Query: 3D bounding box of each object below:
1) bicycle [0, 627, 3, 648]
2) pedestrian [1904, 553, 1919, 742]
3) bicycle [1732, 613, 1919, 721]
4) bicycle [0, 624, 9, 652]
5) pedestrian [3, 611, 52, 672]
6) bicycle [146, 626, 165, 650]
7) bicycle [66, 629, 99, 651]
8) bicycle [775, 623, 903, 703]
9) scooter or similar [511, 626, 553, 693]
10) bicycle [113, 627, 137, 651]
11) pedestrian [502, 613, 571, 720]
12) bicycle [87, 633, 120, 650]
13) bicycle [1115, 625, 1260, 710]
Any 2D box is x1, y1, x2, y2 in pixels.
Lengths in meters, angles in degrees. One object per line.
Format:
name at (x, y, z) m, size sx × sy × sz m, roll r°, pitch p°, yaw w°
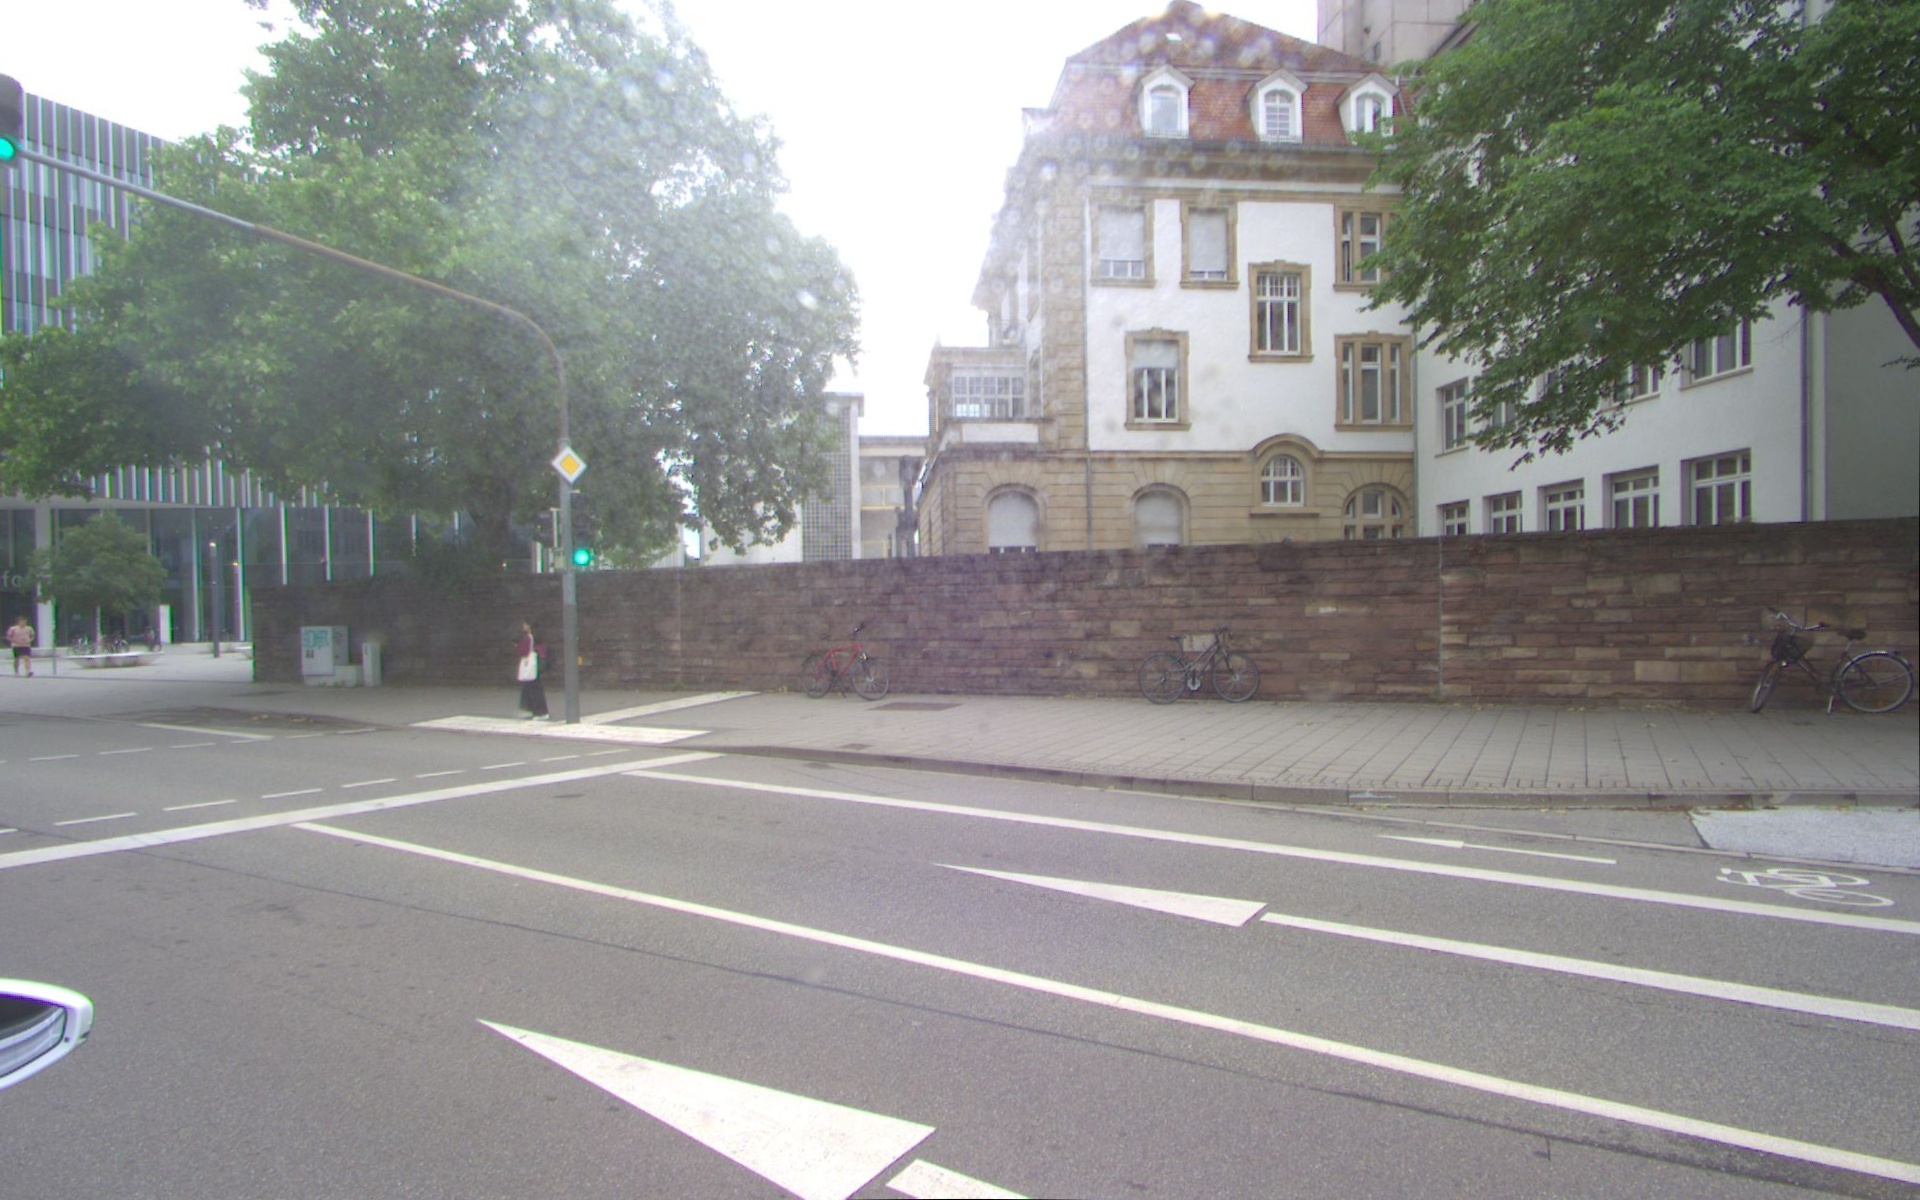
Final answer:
bicycle at (-48.432, 1.918, 49.933) m, size 0.613 × 1.060 × 1.696 m, roll -2°, pitch 2°, yaw -31°
pedestrian at (9.922, 0.453, 9.685) m, size 1.018 × 1.846 × 0.629 m, roll 0°, pitch 2°, yaw 32°
bicycle at (10.178, 0.748, 11.494) m, size 1.889 × 1.143 × 0.849 m, roll -1°, pitch 2°, yaw 17°
bicycle at (-46.269, 1.836, 48.200) m, size 0.522 × 1.270 × 1.652 m, roll -3°, pitch 2°, yaw -39°
pedestrian at (-27.967, 1.225, 30.025) m, size 0.756 × 1.789 × 0.845 m, roll 0°, pitch 2°, yaw 32°
bicycle at (-39.222, 1.837, 48.836) m, size 0.616 × 1.070 × 1.933 m, roll -2°, pitch 2°, yaw -38°
bicycle at (-42.495, 1.944, 48.503) m, size 0.686 × 0.959 × 1.975 m, roll -2°, pitch 1°, yaw -27°
bicycle at (-1.967, 0.992, 16.297) m, size 1.923 × 1.190 × 0.802 m, roll -1°, pitch 3°, yaw 27°
scooter or similar at (-8.358, 1.129, 19.541) m, size 0.427 × 1.195 × 1.693 m, roll -3°, pitch 2°, yaw -33°
bicycle at (-40.474, 1.876, 48.556) m, size 0.802 × 1.070 × 1.933 m, roll -2°, pitch 2°, yaw -38°
pedestrian at (-6.642, 1.023, 15.704) m, size 0.627 × 1.584 × 0.658 m, roll 0°, pitch 5°, yaw 32°
bicycle at (-41.604, 2.013, 48.641) m, size 0.510 × 0.726 × 1.525 m, roll -1°, pitch 1°, yaw -11°
bicycle at (3.235, 0.936, 14.175) m, size 1.934 × 1.088 × 0.941 m, roll -1°, pitch 2°, yaw 17°
